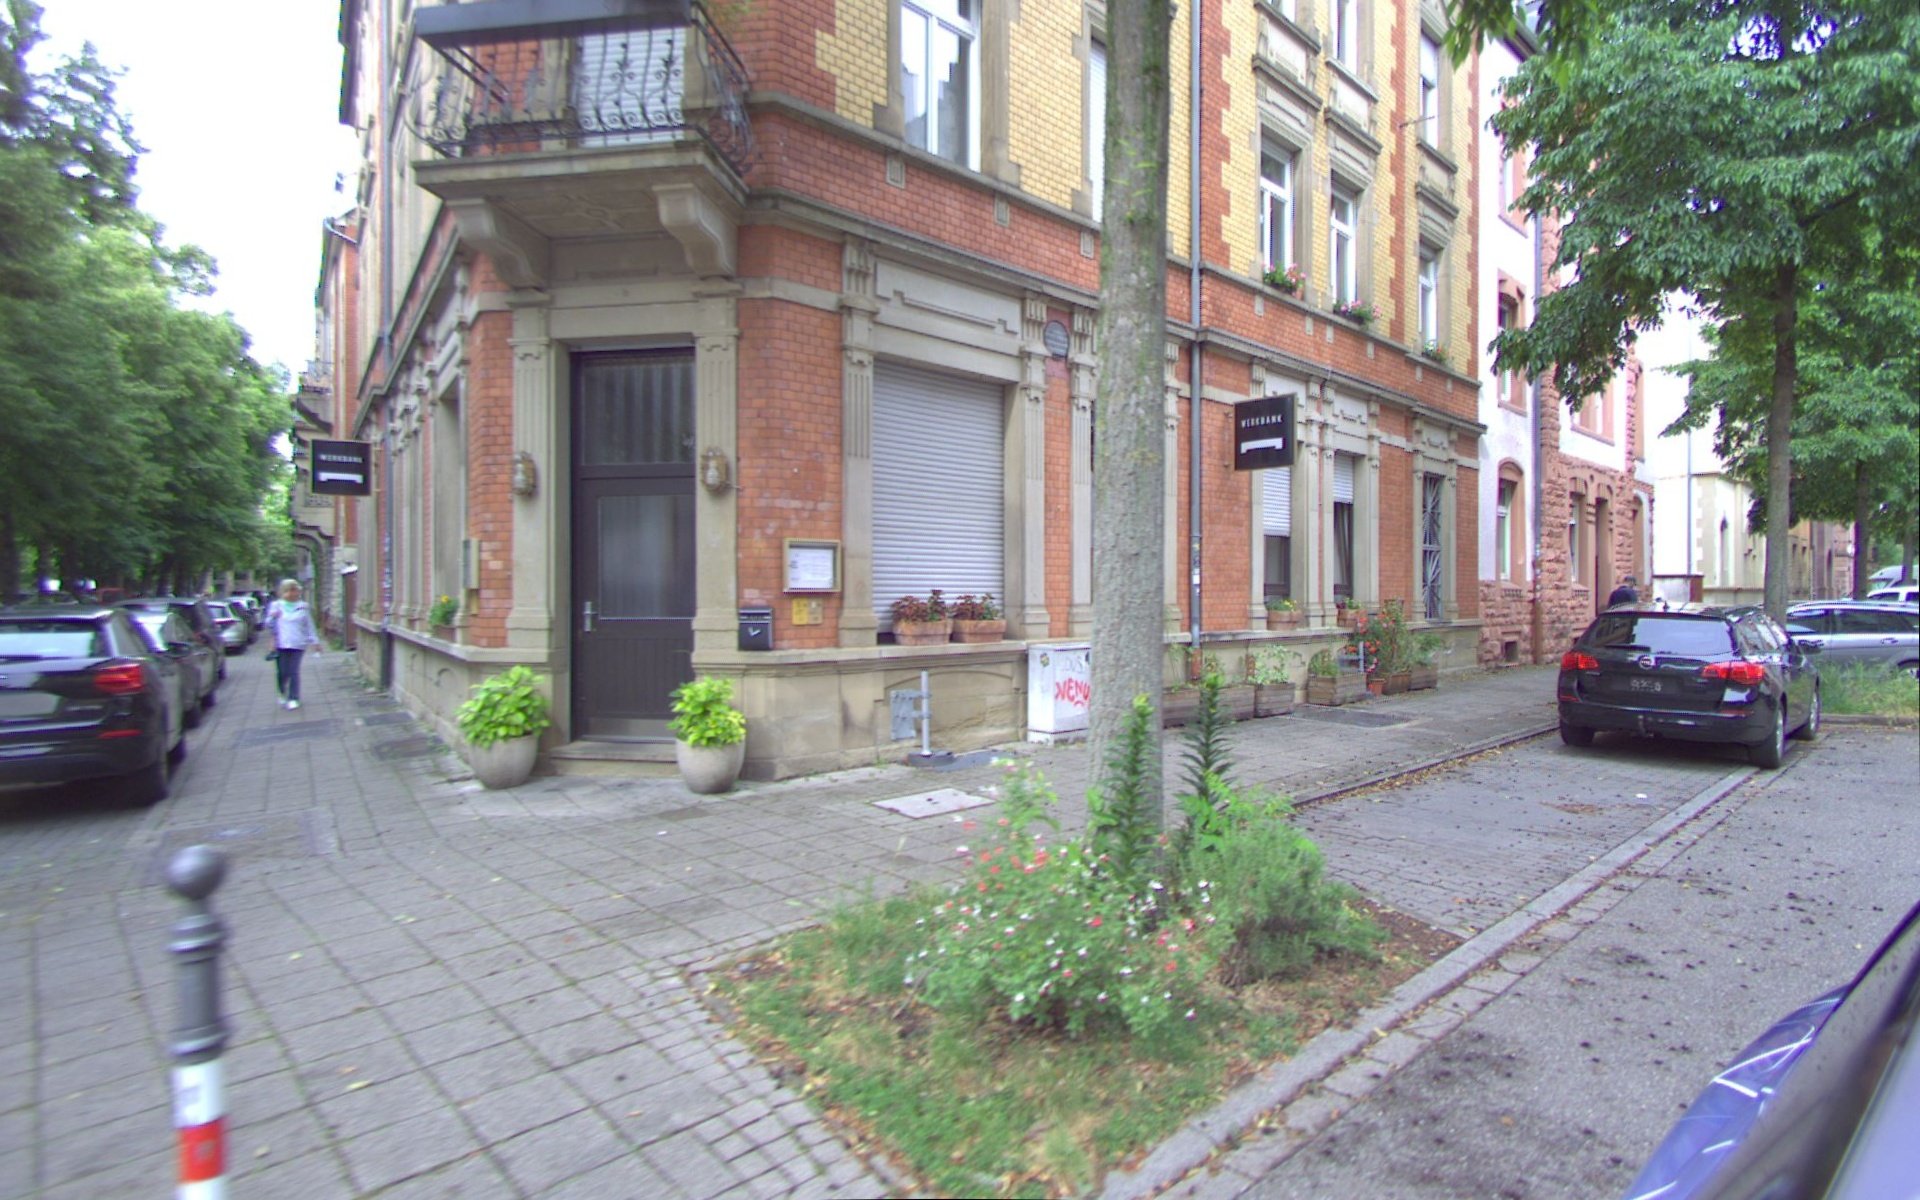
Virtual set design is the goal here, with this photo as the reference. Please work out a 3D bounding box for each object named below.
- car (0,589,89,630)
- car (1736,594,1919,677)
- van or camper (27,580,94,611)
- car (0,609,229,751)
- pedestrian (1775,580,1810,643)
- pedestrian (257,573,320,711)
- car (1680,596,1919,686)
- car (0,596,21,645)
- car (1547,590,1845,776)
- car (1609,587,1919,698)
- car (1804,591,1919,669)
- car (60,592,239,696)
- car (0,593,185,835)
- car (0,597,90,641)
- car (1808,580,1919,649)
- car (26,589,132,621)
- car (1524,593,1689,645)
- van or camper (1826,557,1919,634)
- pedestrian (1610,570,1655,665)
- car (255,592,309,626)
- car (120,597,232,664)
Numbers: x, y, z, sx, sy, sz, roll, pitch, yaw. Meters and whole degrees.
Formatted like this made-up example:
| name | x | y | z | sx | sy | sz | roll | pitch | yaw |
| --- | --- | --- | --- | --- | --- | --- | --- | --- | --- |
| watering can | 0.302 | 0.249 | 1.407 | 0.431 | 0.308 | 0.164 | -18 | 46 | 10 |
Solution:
| name | x | y | z | sx | sy | sz | roll | pitch | yaw |
| --- | --- | --- | --- | --- | --- | --- | --- | --- | --- |
| car | -37.185 | 0.360 | 40.112 | 3.926 | 1.550 | 1.738 | 0 | 0 | 2 |
| car | 17.220 | 0.631 | 19.121 | 3.642 | 1.485 | 1.697 | 0 | 0 | 16 |
| van or camper | -91.463 | -0.479 | 102.897 | 1.993 | 3.073 | 4.963 | 0 | 0 | 44 |
| car | -10.713 | 0.867 | 12.853 | 1.961 | 1.371 | 4.335 | -3 | 2 | -32 |
| pedestrian | 24.906 | 0.336 | 30.280 | 0.803 | 1.835 | 0.702 | 0 | -1 | -43 |
| pedestrian | -8.809 | 0.531 | 13.300 | 0.552 | 1.727 | 0.749 | -4 | 2 | -31 |
| car | 15.066 | 0.668 | 17.529 | 3.830 | 1.454 | 1.737 | 0 | 0 | 17 |
| car | -29.647 | 0.598 | 29.006 | 3.926 | 1.408 | 1.738 | 0 | 0 | 2 |
| car | 7.877 | 0.680 | 10.655 | 4.405 | 1.504 | 1.766 | 0 | 2 | -44 |
| car | 12.744 | 0.600 | 15.434 | 4.379 | 1.445 | 1.752 | 2 | 2 | 14 |
| car | 20.080 | 0.601 | 21.090 | 3.431 | 1.583 | 1.771 | 0 | 0 | 25 |
| car | -14.395 | 0.687 | 18.244 | 1.961 | 1.552 | 4.335 | -3 | 1 | -32 |
| car | -7.402 | 0.755 | 8.221 | 1.630 | 1.559 | 3.833 | -2 | 1 | -36 |
| car | -31.364 | 0.616 | 33.391 | 3.926 | 1.408 | 1.738 | 0 | 0 | 2 |
| car | 26.229 | 0.374 | 27.933 | 1.686 | 1.834 | 4.003 | 0 | 0 | -32 |
| car | -44.453 | 0.239 | 51.086 | 3.926 | 1.631 | 1.738 | 0 | 0 | 2 |
| car | 19.646 | 0.537 | 30.862 | 1.583 | 1.472 | 3.990 | 0 | 1 | -43 |
| van or camper | 33.573 | -0.154 | 35.030 | 5.000 | 2.623 | 2.063 | 0 | 0 | 17 |
| pedestrian | 12.717 | 0.322 | 19.136 | 0.653 | 1.755 | 0.597 | 0 | 0 | -45 |
| car | -31.878 | 0.399 | 47.679 | 1.961 | 1.515 | 4.335 | 0 | 1 | -32 |
| car | -20.179 | 0.722 | 26.202 | 1.809 | 1.514 | 4.276 | -3 | 1 | -32 |
